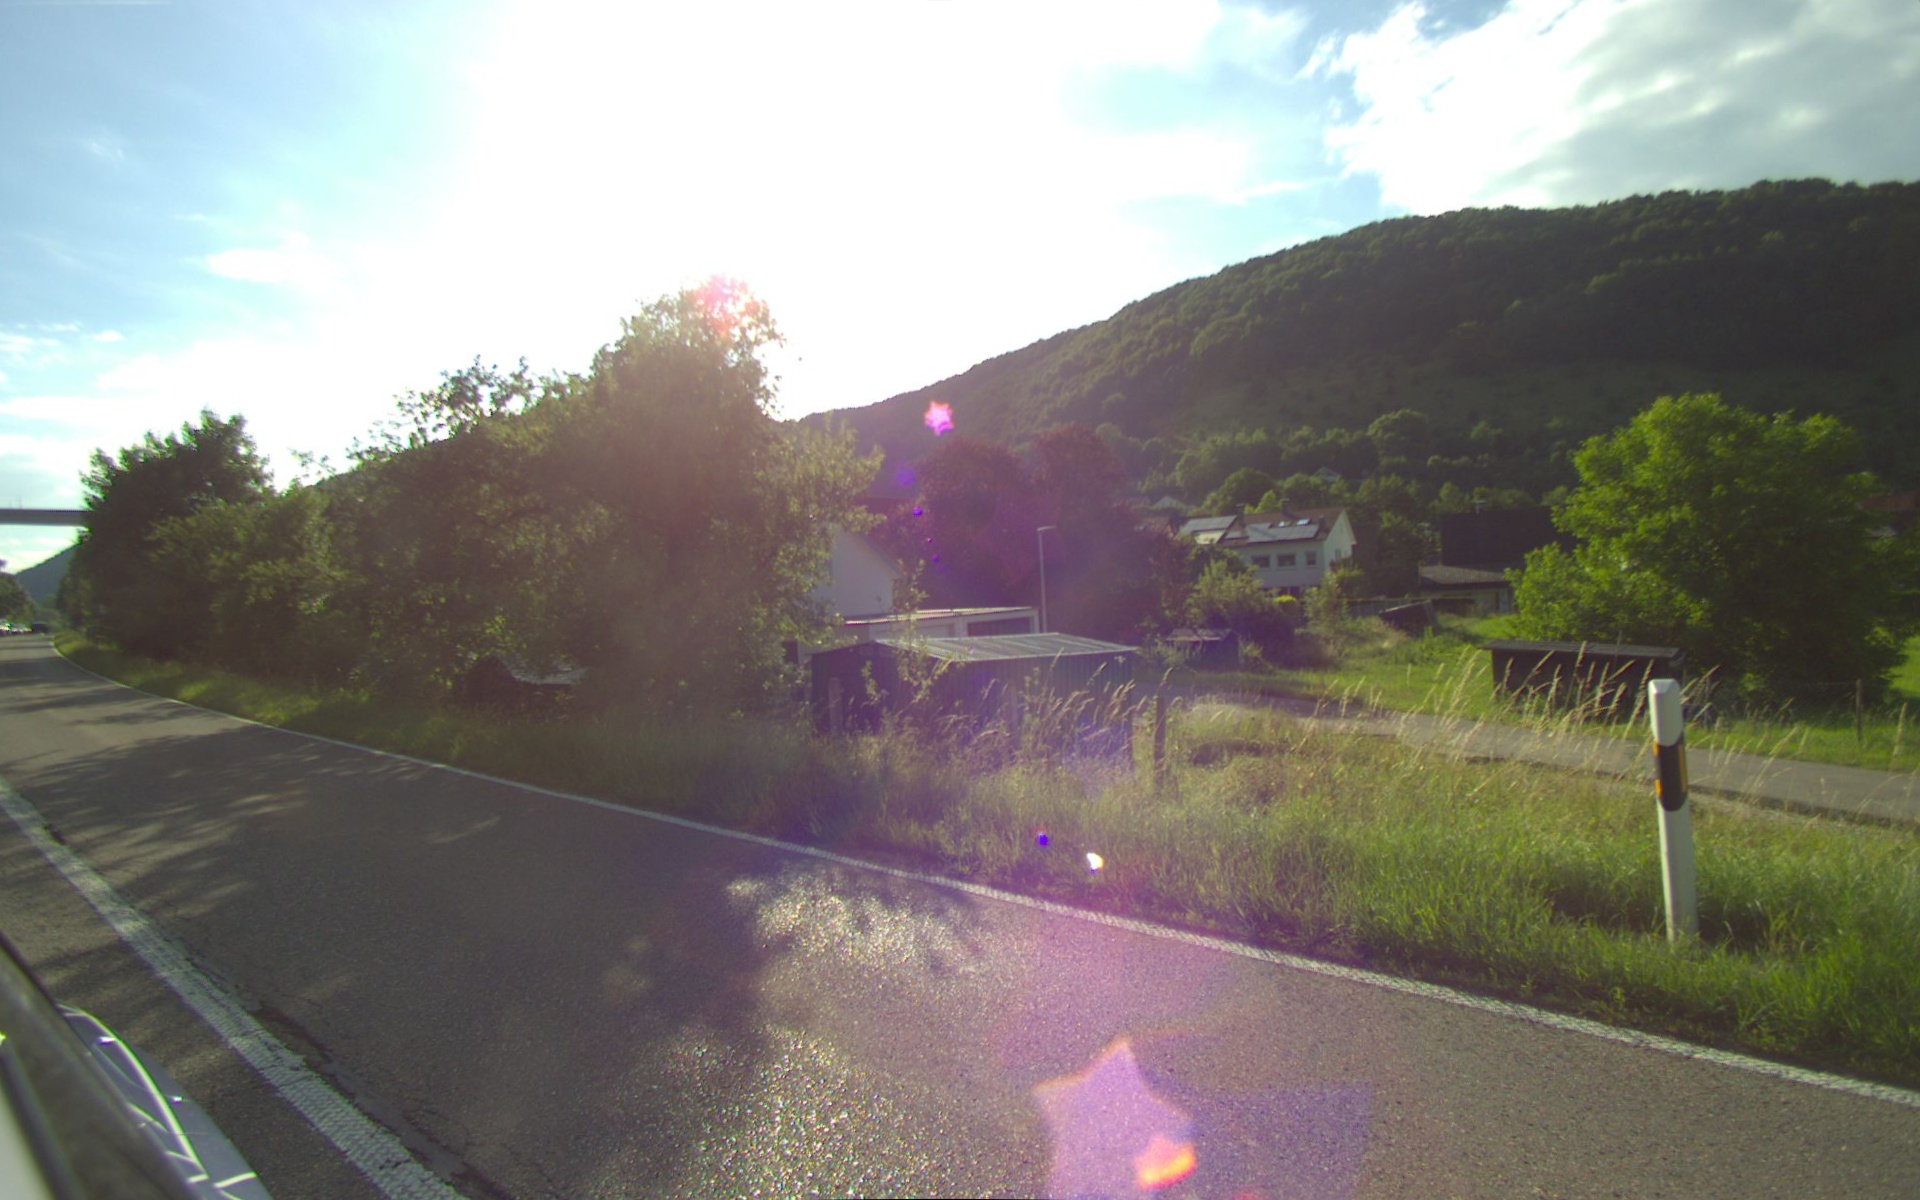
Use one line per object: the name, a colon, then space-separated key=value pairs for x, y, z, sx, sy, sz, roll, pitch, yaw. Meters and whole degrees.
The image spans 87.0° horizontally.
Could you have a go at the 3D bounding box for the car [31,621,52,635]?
car: x=-110.012 y=3.389 z=121.197 sx=1.793 sy=1.630 sz=3.808 roll=1 pitch=-2 yaw=-44

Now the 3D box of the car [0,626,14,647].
car: x=-78.844 y=2.981 z=83.003 sx=1.792 sy=1.630 sz=4.005 roll=1 pitch=-2 yaw=-42

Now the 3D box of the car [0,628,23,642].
car: x=-109.666 y=4.084 z=116.861 sx=1.813 sy=1.564 sz=4.186 roll=0 pitch=-2 yaw=-38
